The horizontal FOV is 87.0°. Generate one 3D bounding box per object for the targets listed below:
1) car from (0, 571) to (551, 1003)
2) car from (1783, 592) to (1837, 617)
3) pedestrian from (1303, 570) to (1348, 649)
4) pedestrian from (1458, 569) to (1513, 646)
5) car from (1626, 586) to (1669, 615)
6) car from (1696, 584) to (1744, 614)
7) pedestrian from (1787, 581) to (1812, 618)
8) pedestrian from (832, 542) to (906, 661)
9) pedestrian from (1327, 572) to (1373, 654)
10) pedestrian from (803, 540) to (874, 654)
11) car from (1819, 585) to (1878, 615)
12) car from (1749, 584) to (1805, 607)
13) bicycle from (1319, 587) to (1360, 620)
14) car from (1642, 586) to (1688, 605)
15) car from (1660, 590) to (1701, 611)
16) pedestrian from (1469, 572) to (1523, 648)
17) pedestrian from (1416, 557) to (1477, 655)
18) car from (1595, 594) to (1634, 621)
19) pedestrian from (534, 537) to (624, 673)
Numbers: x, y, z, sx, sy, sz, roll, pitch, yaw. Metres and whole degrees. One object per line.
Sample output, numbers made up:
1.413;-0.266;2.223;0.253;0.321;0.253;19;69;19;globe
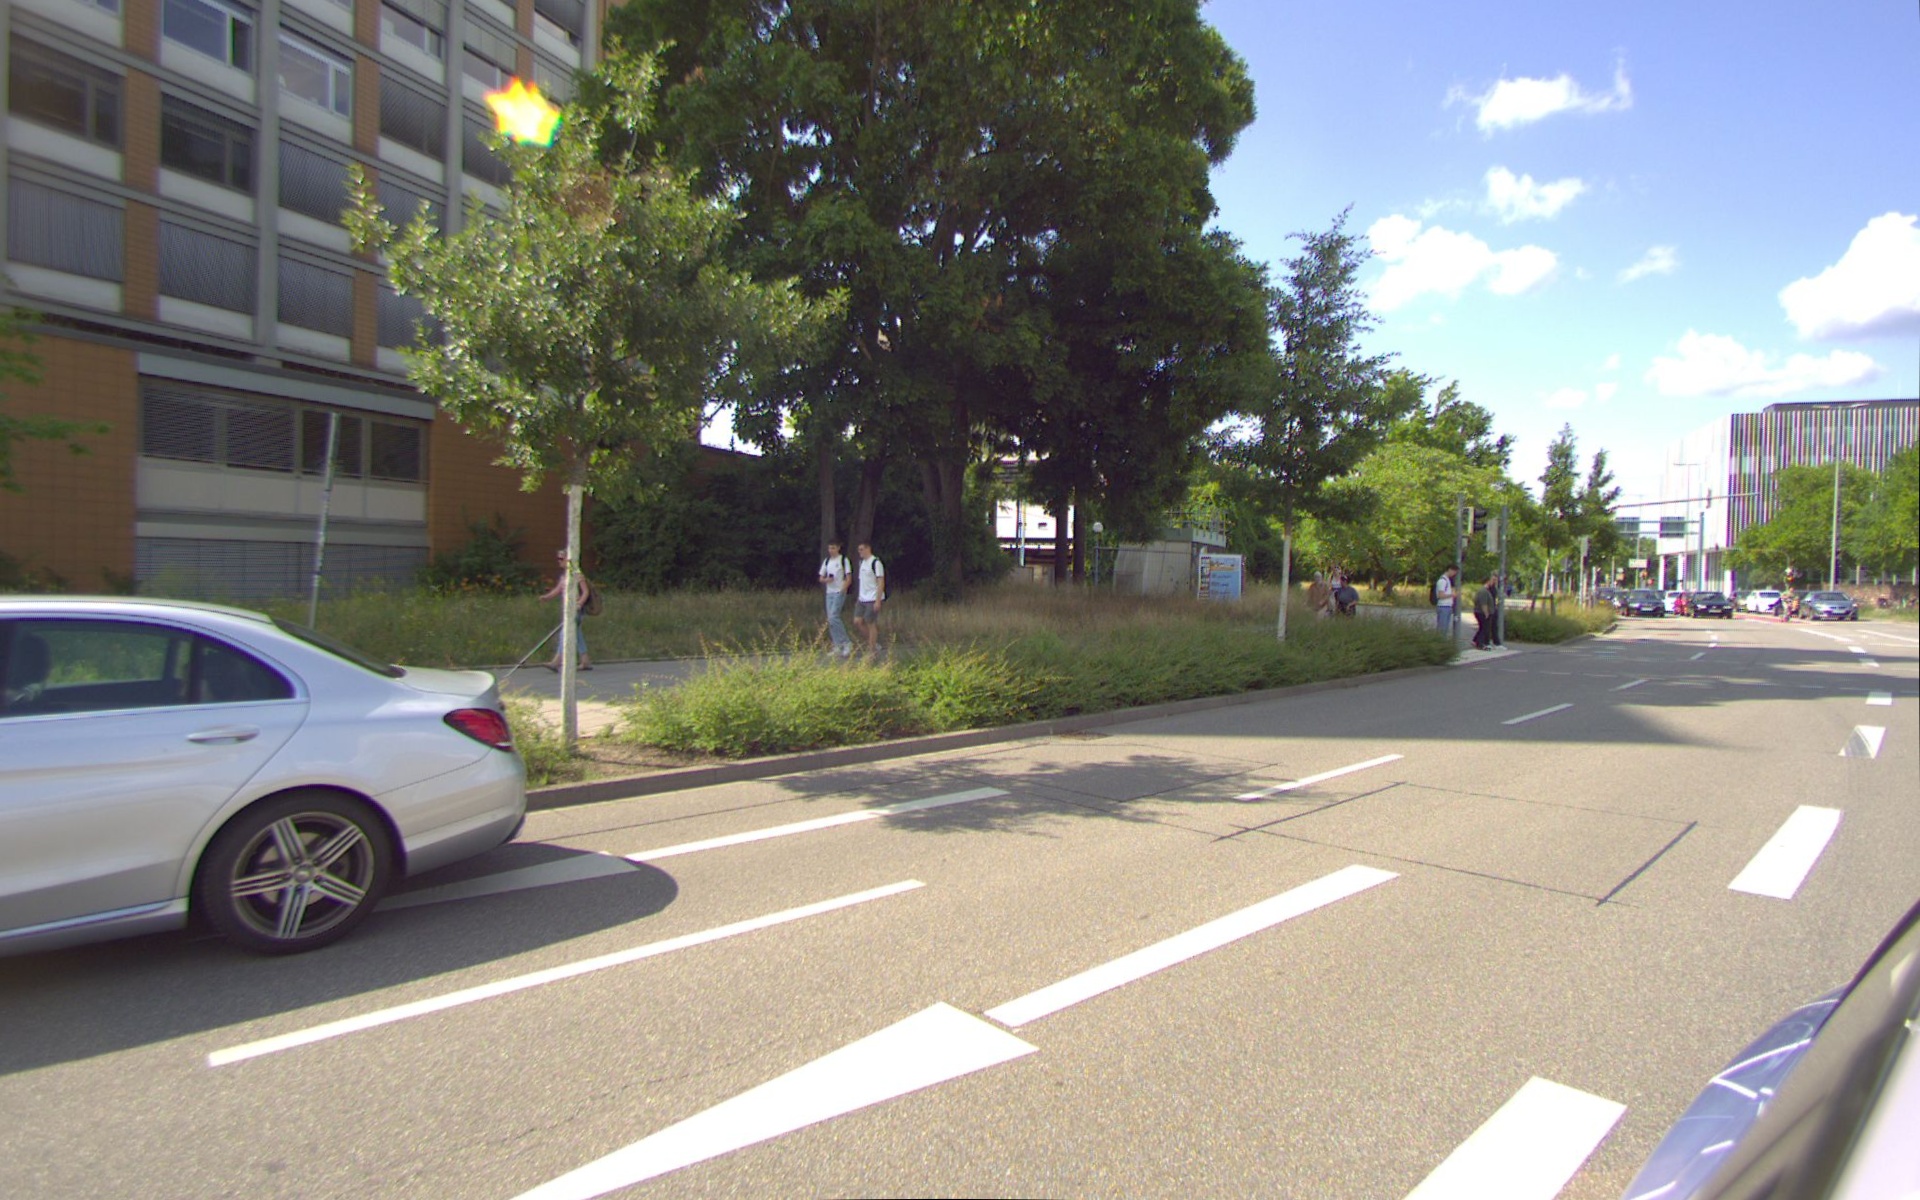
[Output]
-4.269;0.626;3.852;4.677;1.473;1.933;-1;1;-42;car
47.307;0.219;56.391;1.719;1.351;3.748;0;1;31;car
8.313;0.196;23.027;0.765;1.757;0.708;0;0;41;pedestrian
12.224;0.166;23.550;0.755;1.757;0.926;0;0;-43;pedestrian
36.797;-0.016;54.199;1.814;1.481;3.951;1;1;34;car
39.930;-0.067;53.222;1.815;1.481;3.951;1;1;34;car
39.246;-0.023;47.316;0.731;1.736;0.868;0;0;27;pedestrian
-1.372;0.010;15.317;0.614;1.720;0.876;5;4;44;pedestrian
8.609;0.271;22.335;0.765;1.757;0.708;0;0;41;pedestrian
-1.908;-0.069;15.897;0.614;1.720;0.876;5;4;44;pedestrian
43.764;-0.026;49.911;1.990;1.393;4.210;0;1;39;car
50.599;-0.283;62.733;1.761;1.371;3.966;0;1;25;car
10.984;0.081;29.255;0.645;0.892;1.798;2;2;37;bicycle
44.804;-0.323;64.394;1.893;1.148;4.062;2;2;28;car
41.502;0.029;58.310;1.585;1.148;3.590;-1;1;31;car
12.758;0.230;24.100;0.755;1.757;0.926;0;0;-43;pedestrian
10.445;0.125;21.726;0.755;2.039;0.963;0;0;-43;pedestrian
39.339;0.418;60.826;1.815;1.481;3.950;1;1;35;car
-4.850;0.043;12.891;0.614;1.642;0.876;5;4;44;pedestrian
